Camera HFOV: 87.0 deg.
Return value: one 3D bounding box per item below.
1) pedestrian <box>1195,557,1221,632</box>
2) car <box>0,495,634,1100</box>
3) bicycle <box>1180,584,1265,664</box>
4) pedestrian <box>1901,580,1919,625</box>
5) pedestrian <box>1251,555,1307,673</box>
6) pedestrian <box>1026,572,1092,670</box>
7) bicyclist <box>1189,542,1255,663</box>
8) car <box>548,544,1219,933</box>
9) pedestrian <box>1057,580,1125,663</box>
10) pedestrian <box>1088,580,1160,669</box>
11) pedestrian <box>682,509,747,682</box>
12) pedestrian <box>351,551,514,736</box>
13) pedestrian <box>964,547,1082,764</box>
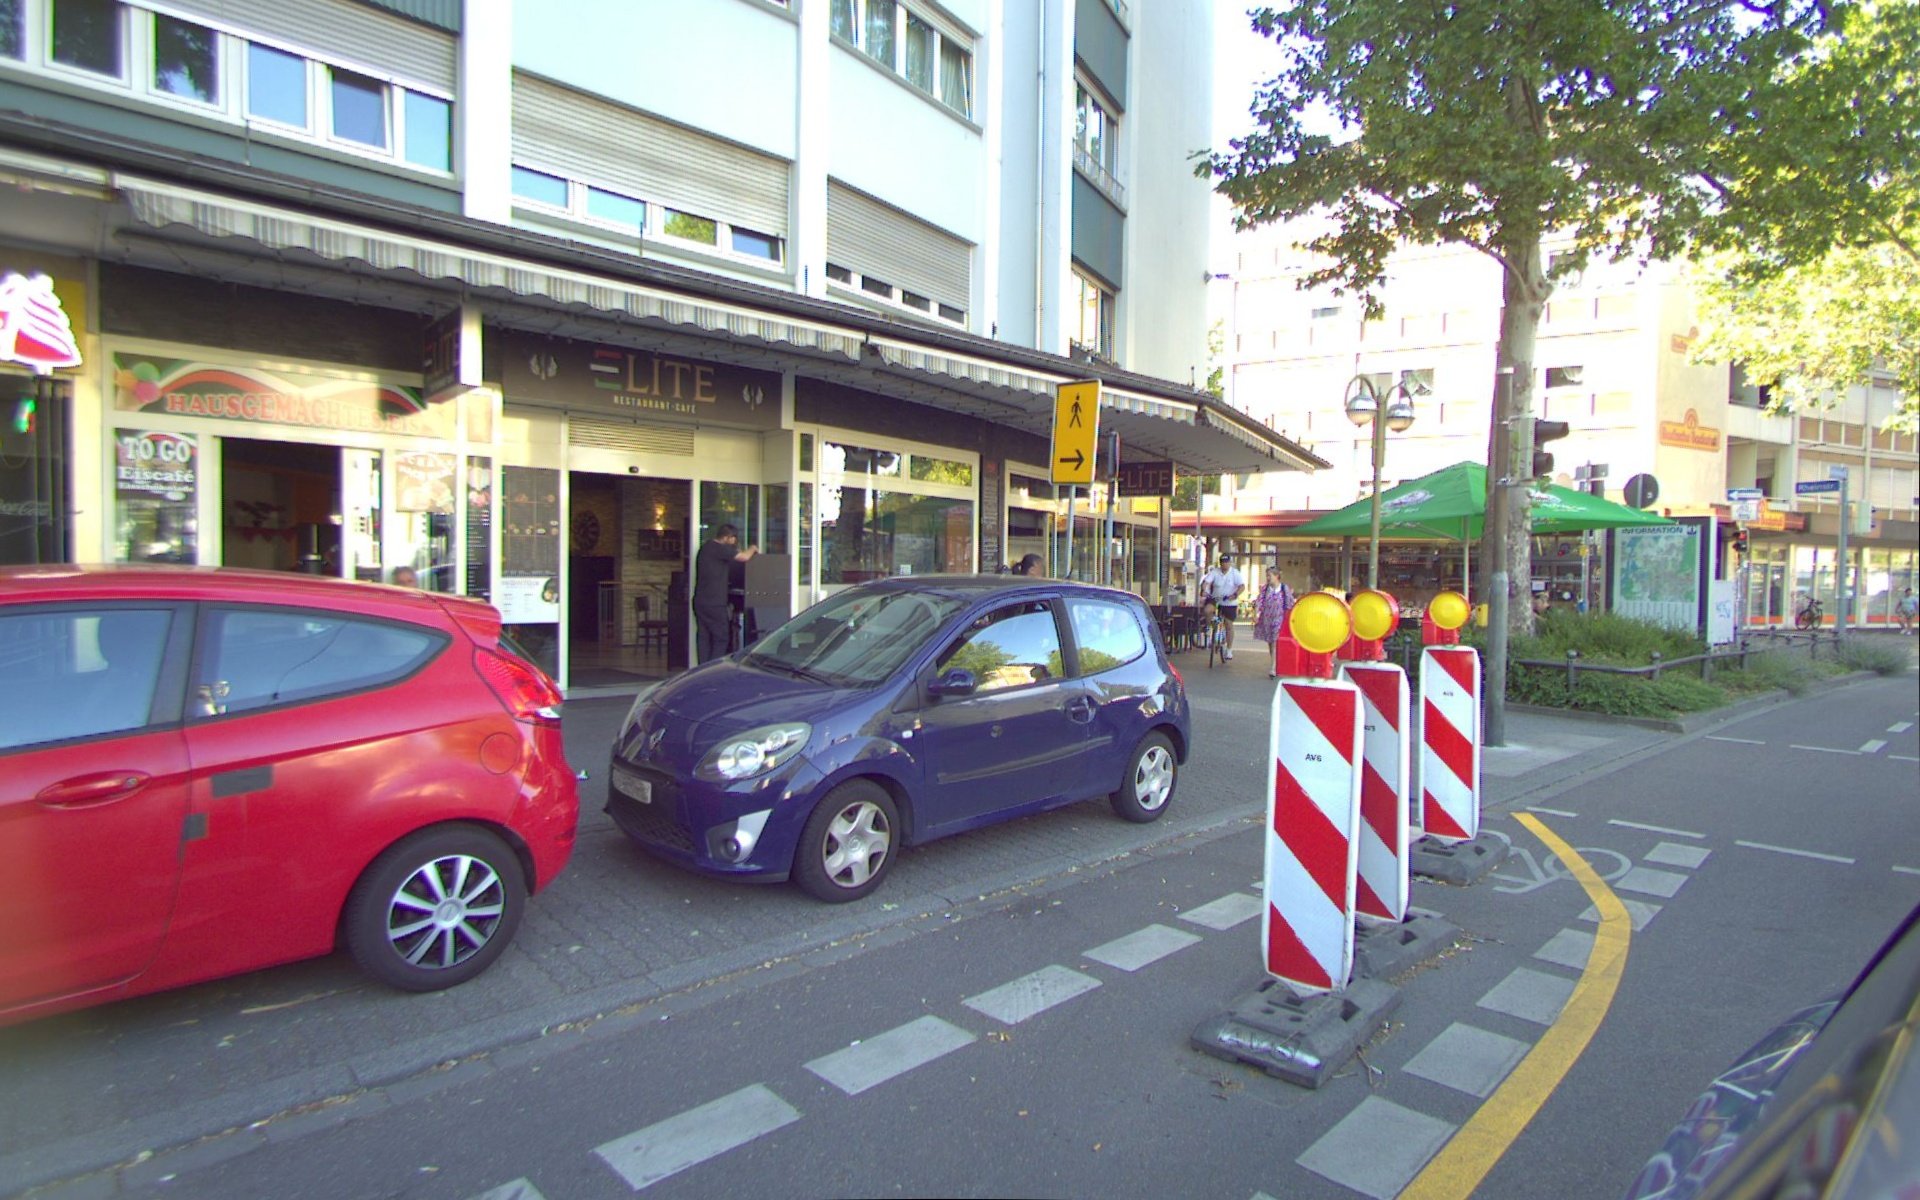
[{"bbox_3d":[6.747,-0.167,27.476,0.639,1.983,0.886,1,1,15],"label":"pedestrian"},{"bbox_3d":[-3.240,0.471,3.253,3.761,1.614,1.784,-1,5,-45],"label":"car"},{"bbox_3d":[4.217,0.363,16.173,0.746,1.143,1.865,4,2,32],"label":"bicycle"},{"bbox_3d":[30.957,0.083,32.676,0.520,1.455,0.630,0,1,-21],"label":"pedestrian"},{"bbox_3d":[4.611,0.186,14.613,0.624,1.657,0.525,2,1,34],"label":"pedestrian"},{"bbox_3d":[1.384,0.276,14.236,0.685,1.323,0.793,1,1,-13],"label":"pedestrian"},{"bbox_3d":[4.167,0.019,16.075,0.747,1.848,0.916,2,3,31],"label":"bicyclist"},{"bbox_3d":[-0.268,0.507,5.906,3.551,1.485,1.769,-1,5,-44],"label":"car"},{"bbox_3d":[1.986,0.303,15.349,0.776,1.207,0.648,0,2,-34],"label":"pedestrian"},{"bbox_3d":[2.344,0.332,14.522,0.685,1.207,0.881,0,1,-18],"label":"pedestrian"},{"bbox_3d":[-2.624,-0.062,10.811,0.547,1.800,0.395,-1,4,-43],"label":"pedestrian"},{"bbox_3d":[-4.245,0.299,8.124,0.937,1.352,1.069,0,2,-41],"label":"pedestrian"},{"bbox_3d":[0.515,0.408,8.250,0.783,1.667,0.583,-1,2,-42],"label":"pedestrian"}]
